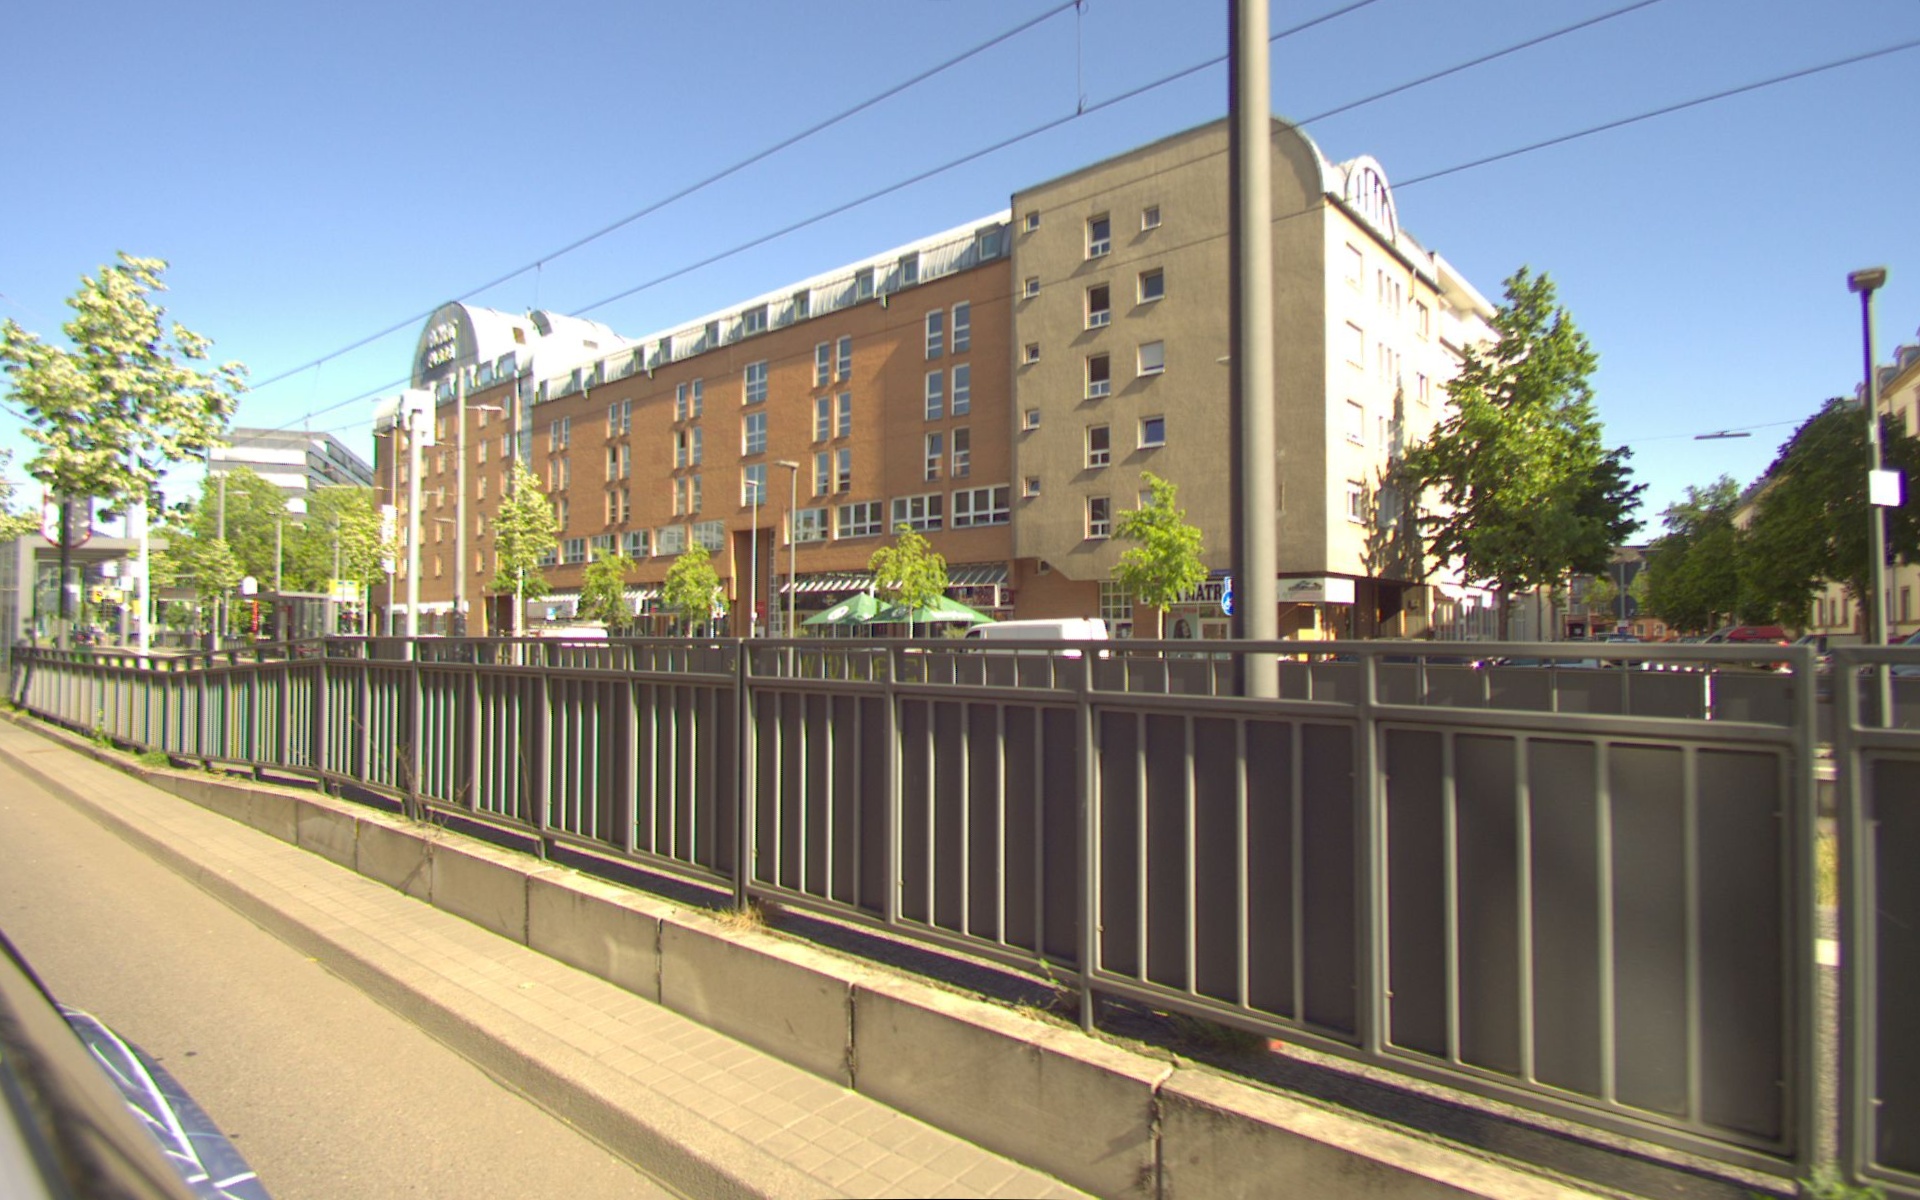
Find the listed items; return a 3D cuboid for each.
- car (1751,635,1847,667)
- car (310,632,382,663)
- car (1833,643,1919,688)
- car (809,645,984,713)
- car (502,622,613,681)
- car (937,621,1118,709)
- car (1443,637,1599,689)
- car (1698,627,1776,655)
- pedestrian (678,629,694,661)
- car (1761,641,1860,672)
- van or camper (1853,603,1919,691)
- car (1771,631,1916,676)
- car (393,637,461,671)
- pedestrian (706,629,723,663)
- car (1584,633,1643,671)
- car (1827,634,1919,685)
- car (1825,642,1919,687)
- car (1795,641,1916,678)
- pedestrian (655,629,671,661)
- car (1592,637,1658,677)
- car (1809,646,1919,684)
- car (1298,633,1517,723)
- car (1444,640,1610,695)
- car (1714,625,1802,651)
[{"bbox_3d":[44.461,2.682,53.708,3.654,1.649,1.673,-1,-3,32],"label":"car"},{"bbox_3d":[-28.383,2.163,46.741,3.958,1.296,1.677,-1,-1,40],"label":"car"},{"bbox_3d":[33.400,2.281,35.706,3.654,1.533,1.673,-1,-3,32],"label":"car"},{"bbox_3d":[-1.519,1.744,23.180,3.958,1.296,1.677,-1,-1,40],"label":"car"},{"bbox_3d":[-13.697,1.690,34.327,4.086,1.808,1.801,-1,-1,40],"label":"car"},{"bbox_3d":[1.883,1.842,30.206,1.969,2.388,5.652,1,-2,-41],"label":"car"},{"bbox_3d":[16.879,1.865,30.661,3.980,1.462,1.769,-1,-2,27],"label":"car"},{"bbox_3d":[60.334,3.185,78.729,4.557,2.115,2.024,-1,-3,32],"label":"car"},{"bbox_3d":[-15.947,2.622,58.940,0.644,1.854,0.614,-2,-3,39],"label":"pedestrian"},{"bbox_3d":[43.630,2.863,52.010,3.654,1.533,1.673,-1,-3,32],"label":"car"},{"bbox_3d":[28.767,1.295,27.828,5.932,2.419,1.980,-1,-3,30],"label":"van or camper"},{"bbox_3d":[41.550,2.500,47.773,4.857,2.022,1.920,-1,-3,32],"label":"car"},{"bbox_3d":[-29.333,2.918,55.648,3.998,1.696,1.973,-1,-1,41],"label":"car"},{"bbox_3d":[-13.485,2.535,55.648,0.644,1.854,0.614,-2,-3,41],"label":"pedestrian"},{"bbox_3d":[30.758,2.422,47.737,1.947,1.674,3.962,-1,-2,27],"label":"car"},{"bbox_3d":[36.516,2.280,39.373,3.930,1.942,1.673,-1,-3,32],"label":"car"},{"bbox_3d":[34.919,2.395,37.816,3.654,1.609,1.673,-1,-3,32],"label":"car"},{"bbox_3d":[38.871,2.564,44.047,3.654,1.512,1.673,-1,-3,32],"label":"car"},{"bbox_3d":[-17.365,2.651,59.238,0.644,1.854,0.614,-2,-3,39],"label":"pedestrian"},{"bbox_3d":[28.661,2.417,43.730,1.947,1.674,3.962,-1,-2,27],"label":"car"},{"bbox_3d":[37.670,2.665,41.832,3.654,1.512,1.673,-1,-3,32],"label":"car"},{"bbox_3d":[9.644,1.603,21.961,3.997,1.773,1.796,-2,-3,40],"label":"car"},{"bbox_3d":[15.946,1.861,28.697,3.980,1.462,1.769,-1,-2,27],"label":"car"},{"bbox_3d":[55.847,2.657,70.952,4.557,1.745,2.024,-1,-3,32],"label":"car"}]
